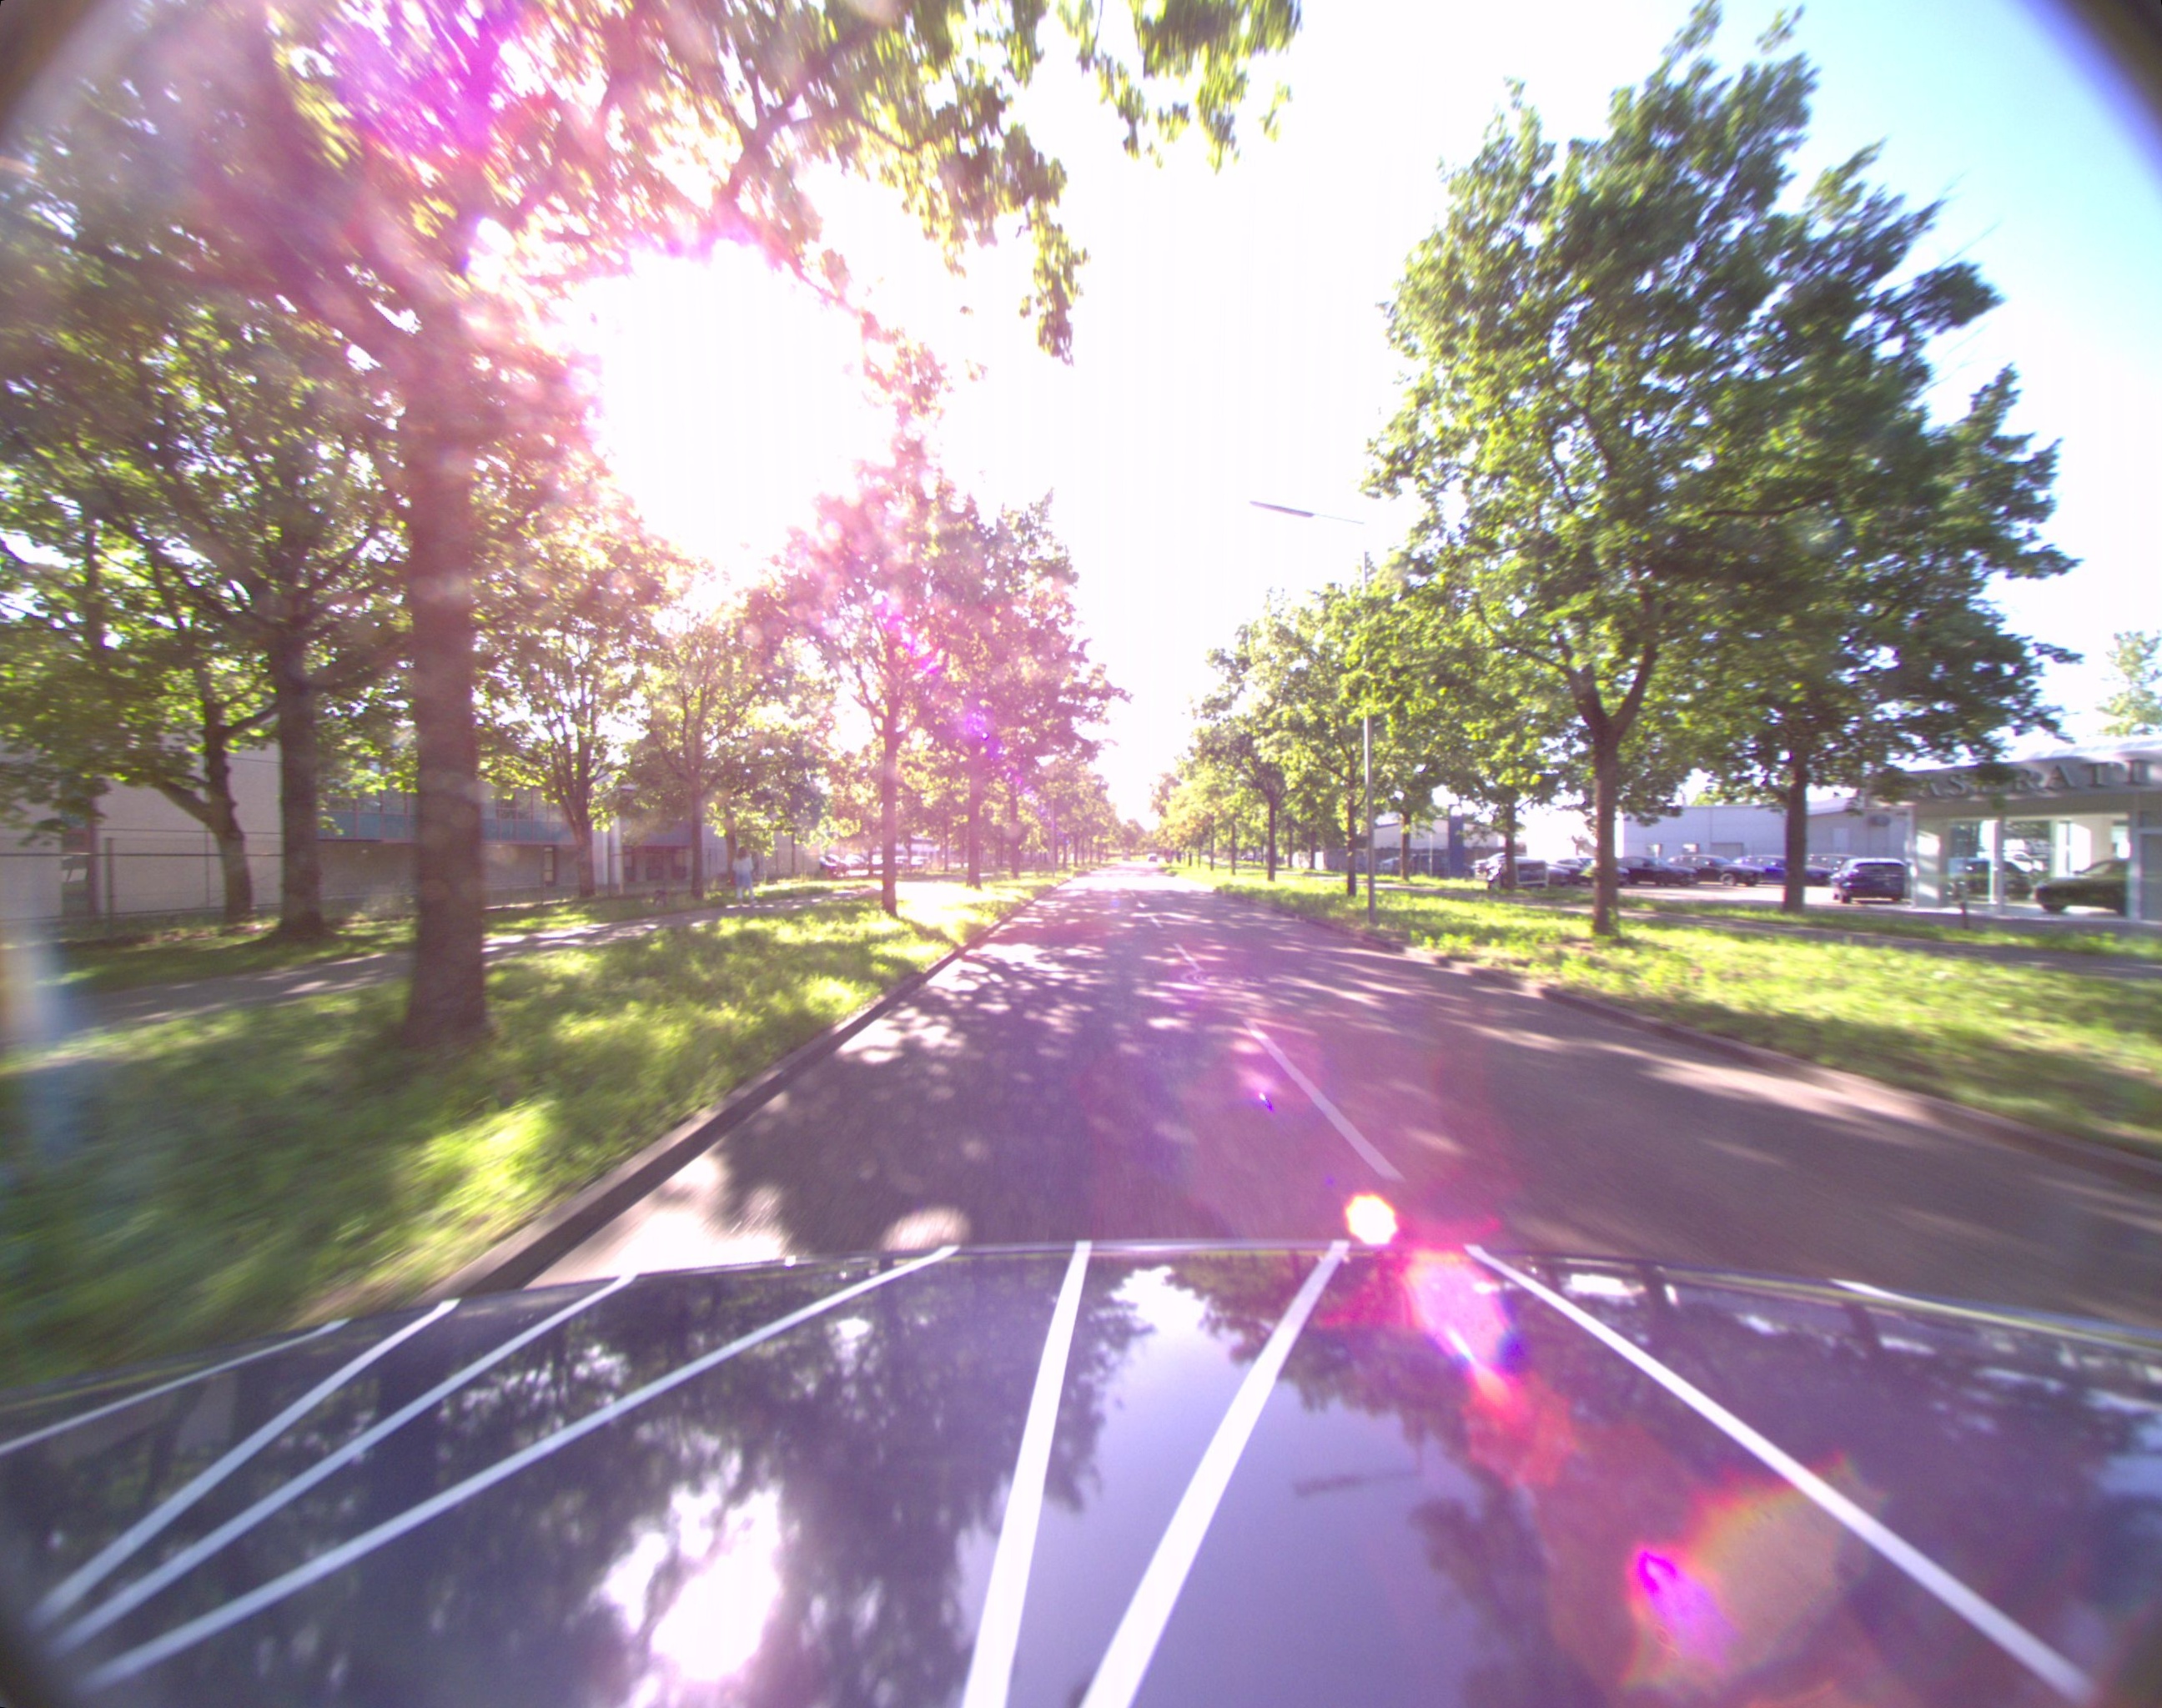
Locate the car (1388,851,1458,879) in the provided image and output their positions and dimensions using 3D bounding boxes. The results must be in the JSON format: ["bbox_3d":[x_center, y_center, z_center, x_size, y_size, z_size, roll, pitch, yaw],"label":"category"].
[{"bbox_3d":[23.802,0.770,53.018,3.995,1.736,1.862,-2,1,5],"label":"car"}]

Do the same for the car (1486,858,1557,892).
[{"bbox_3d":[19.770,0.928,34.184,2.570,1.461,1.427,0,0,19],"label":"car"}]

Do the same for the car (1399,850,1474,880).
[{"bbox_3d":[23.381,0.716,50.136,3.995,1.732,2.001,-2,1,6],"label":"car"}]

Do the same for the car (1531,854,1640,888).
[{"bbox_3d":[28.612,0.919,43.352,2.000,1.707,5.254,-2,0,-12],"label":"car"}]

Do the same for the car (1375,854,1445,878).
[{"bbox_3d":[24.198,0.865,56.038,4.320,1.510,1.862,-2,1,5],"label":"car"}]

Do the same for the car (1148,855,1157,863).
[{"bbox_3d":[14.248,0.988,151.522,1.771,1.663,4.200,1,1,4],"label":"car"}]

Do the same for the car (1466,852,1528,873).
[{"bbox_3d":[33.738,0.701,61.649,3.995,1.510,1.752,-2,1,5],"label":"car"}]

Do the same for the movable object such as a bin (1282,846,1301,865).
[{"bbox_3d":[30.141,0.207,108.834,1.997,2.501,4.237,-2,1,7],"label":"movable object such as a bin"}]

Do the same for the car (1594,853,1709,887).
[{"bbox_3d":[32.102,0.847,43.005,2.000,1.680,5.255,-2,0,-10],"label":"car"}]

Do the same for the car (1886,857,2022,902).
[{"bbox_3d":[34.785,0.954,30.483,1.995,1.651,5.020,-1,-1,30],"label":"car"}]

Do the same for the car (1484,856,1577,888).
[{"bbox_3d":[25.585,0.976,43.441,2.001,1.665,4.494,-2,0,-13],"label":"car"}]

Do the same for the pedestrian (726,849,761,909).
[{"bbox_3d":[-9.373,0.678,21.115,0.609,1.621,0.719,2,0,3],"label":"pedestrian"}]

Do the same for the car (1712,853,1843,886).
[{"bbox_3d":[38.714,0.807,42.463,2.000,1.651,5.255,-2,0,-10],"label":"car"}]

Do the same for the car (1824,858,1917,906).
[{"bbox_3d":[30.337,1.019,29.348,1.994,1.651,5.271,-2,-1,41],"label":"car"}]

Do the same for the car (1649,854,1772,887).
[{"bbox_3d":[35.386,0.868,42.941,2.000,1.651,5.255,-2,0,-10],"label":"car"}]

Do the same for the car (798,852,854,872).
[{"bbox_3d":[-26.226,0.840,78.212,5.076,1.948,1.895,0,1,0],"label":"car"}]
